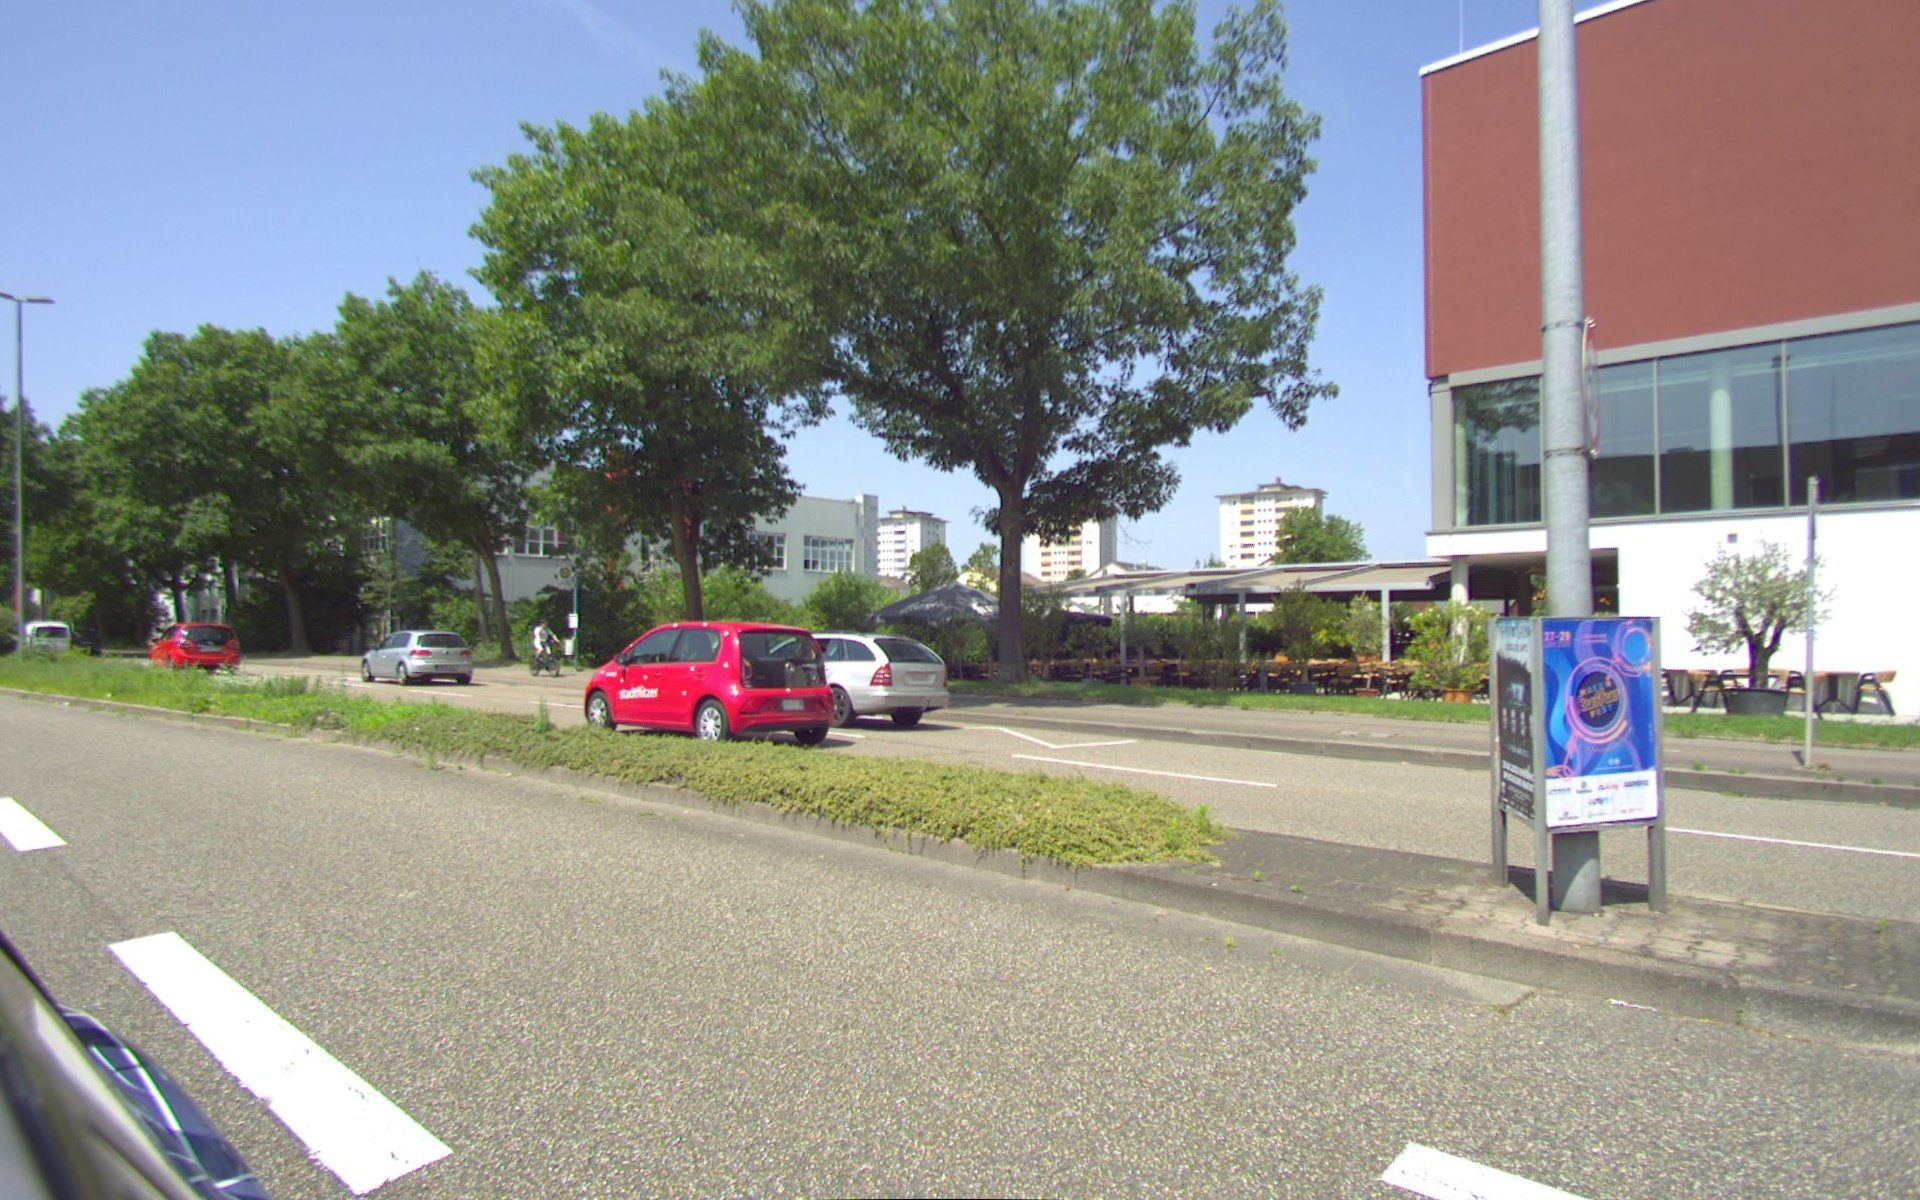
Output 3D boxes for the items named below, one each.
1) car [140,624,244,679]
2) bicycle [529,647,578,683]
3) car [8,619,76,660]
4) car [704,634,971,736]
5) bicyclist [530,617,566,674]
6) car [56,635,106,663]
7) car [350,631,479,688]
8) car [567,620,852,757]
[{"bbox_3d":[-23.992,1.599,31.572,4.151,1.582,1.731,-2,-4,41],"label":"car"},{"bbox_3d":[-11.671,1.858,29.038,1.659,0.976,0.610,-2,-2,42],"label":"bicycle"},{"bbox_3d":[-45.720,1.960,50.365,4.422,1.920,1.833,-2,-5,40],"label":"car"},{"bbox_3d":[-2.061,1.296,16.273,4.356,1.415,1.759,-2,-5,40],"label":"car"},{"bbox_3d":[-11.924,1.306,29.295,0.923,1.643,0.601,-2,-2,41],"label":"bicyclist"},{"bbox_3d":[-53.926,2.976,62.063,4.211,1.616,1.698,-2,-5,41],"label":"car"},{"bbox_3d":[-14.980,1.607,27.702,4.131,1.462,1.731,-2,-4,41],"label":"car"},{"bbox_3d":[-3.170,1.019,12.521,3.606,1.452,1.564,-2,-4,40],"label":"car"}]
